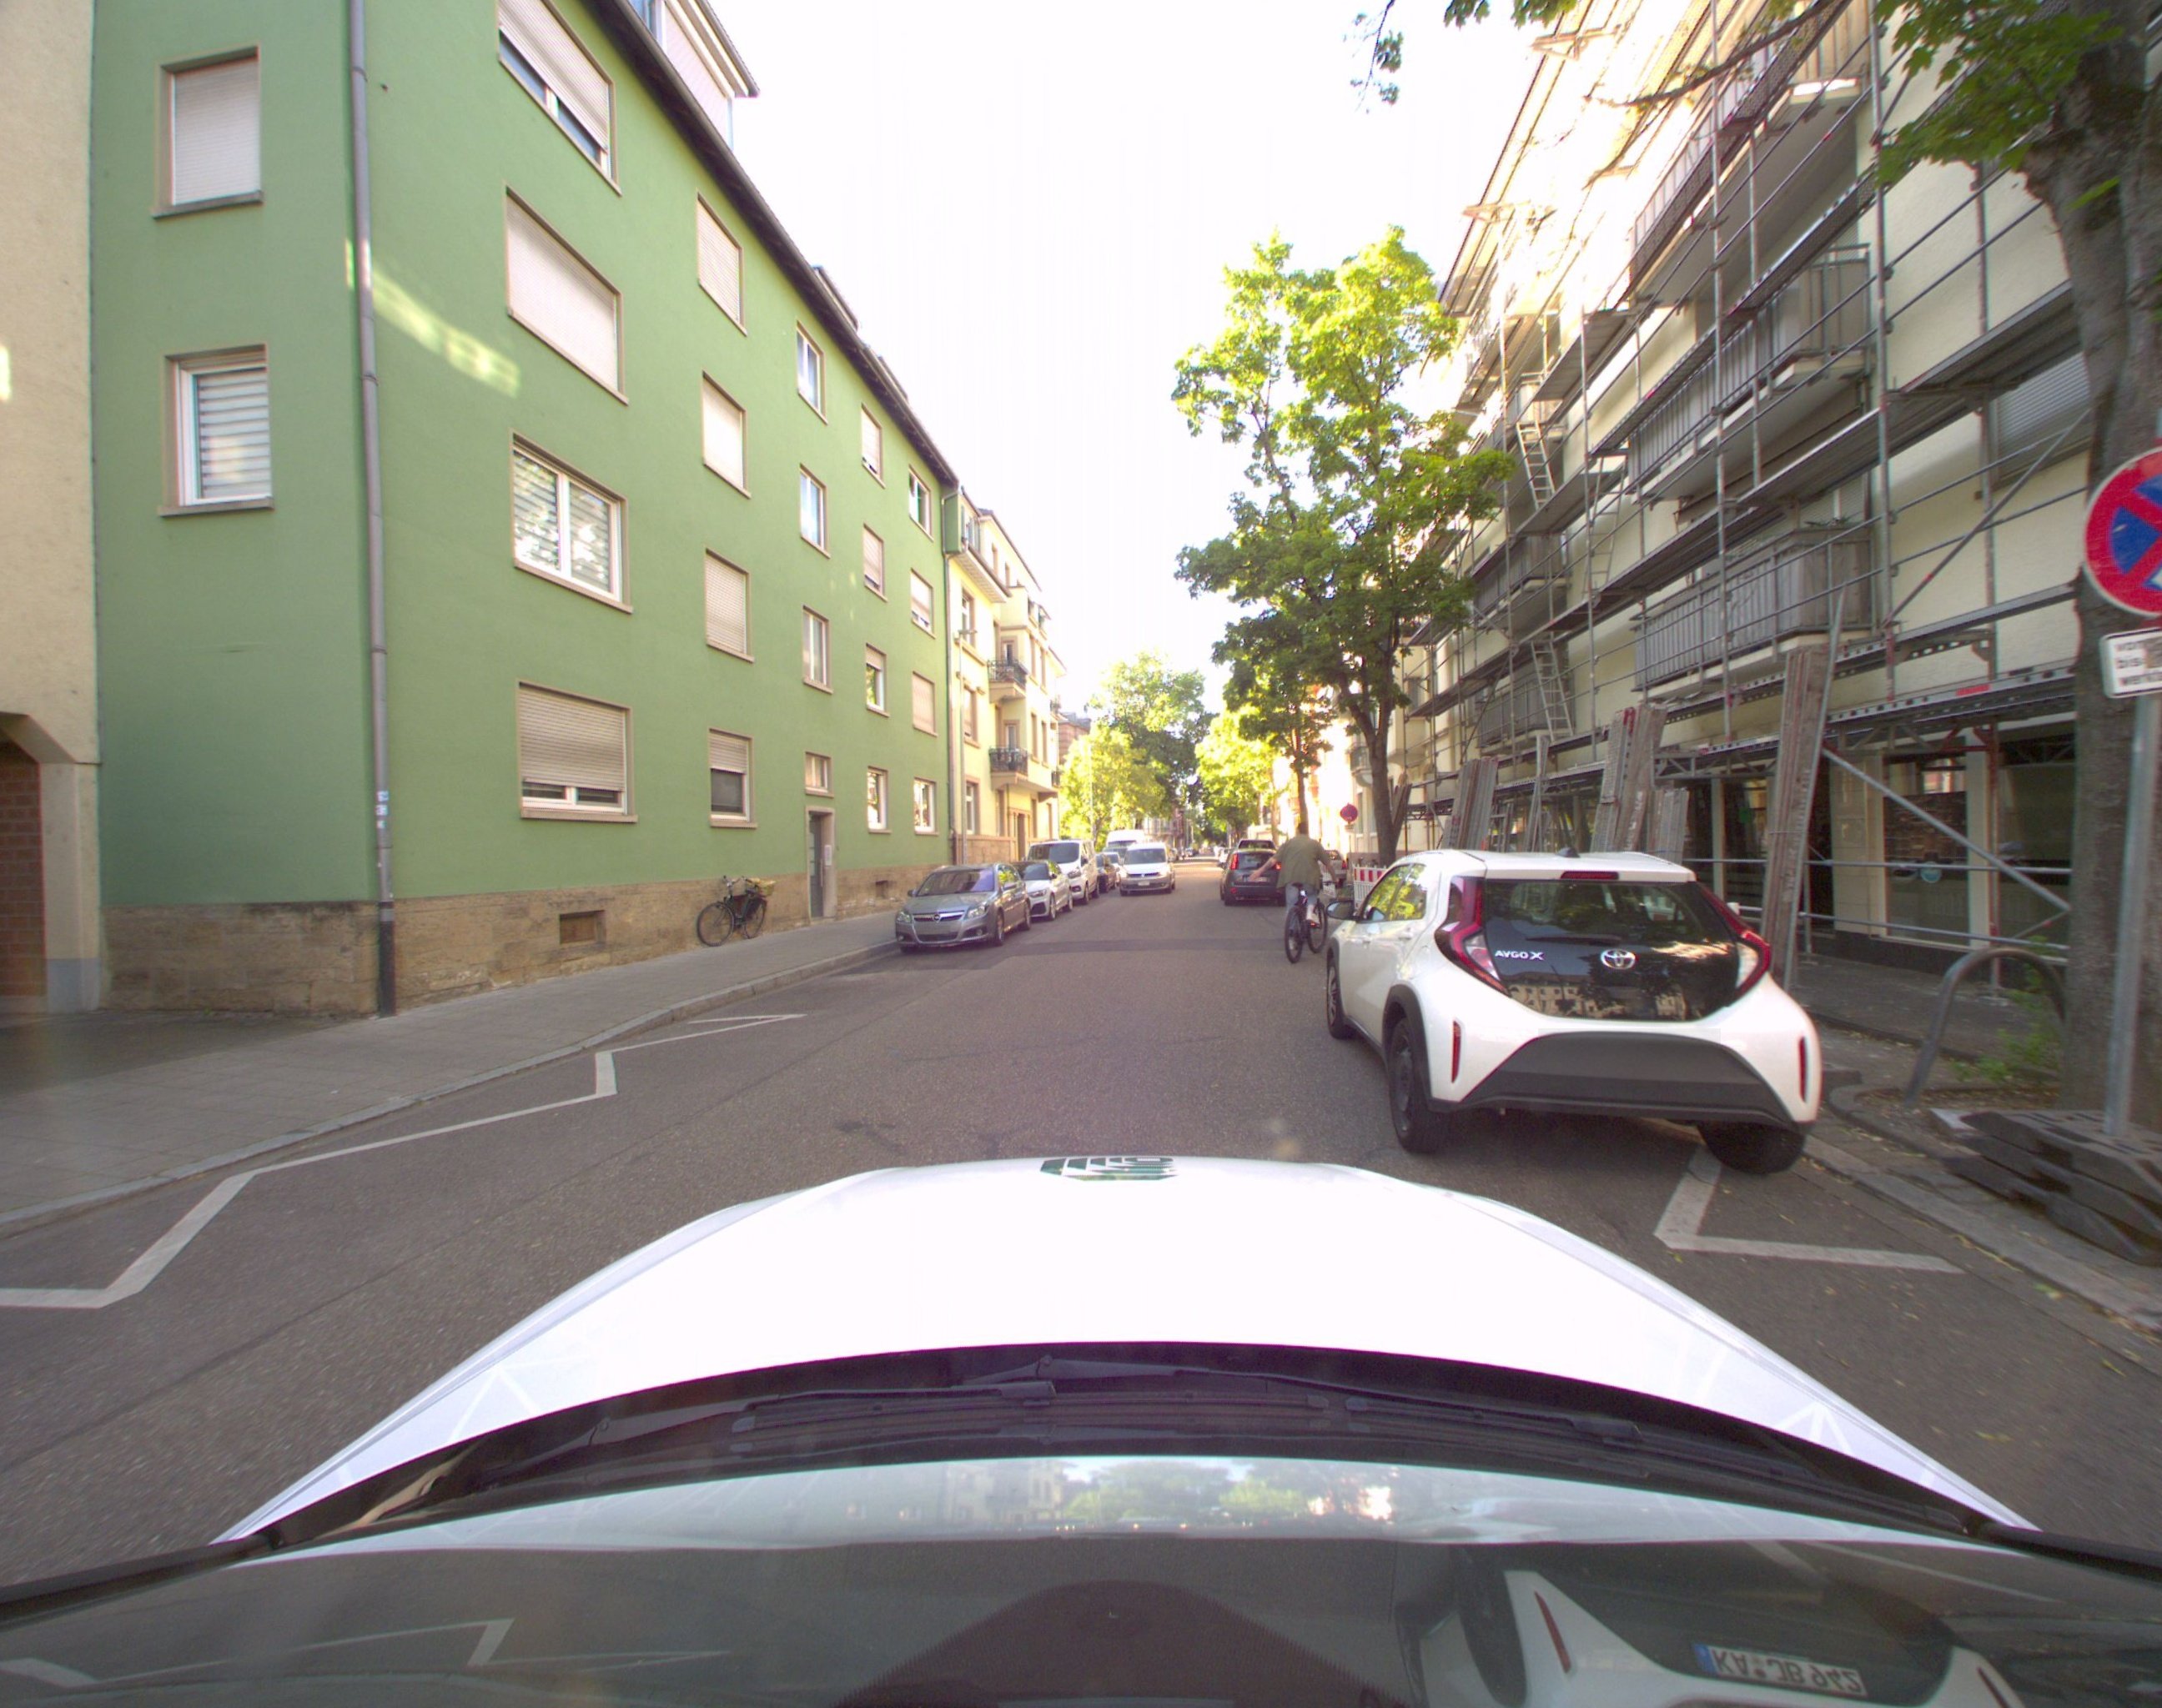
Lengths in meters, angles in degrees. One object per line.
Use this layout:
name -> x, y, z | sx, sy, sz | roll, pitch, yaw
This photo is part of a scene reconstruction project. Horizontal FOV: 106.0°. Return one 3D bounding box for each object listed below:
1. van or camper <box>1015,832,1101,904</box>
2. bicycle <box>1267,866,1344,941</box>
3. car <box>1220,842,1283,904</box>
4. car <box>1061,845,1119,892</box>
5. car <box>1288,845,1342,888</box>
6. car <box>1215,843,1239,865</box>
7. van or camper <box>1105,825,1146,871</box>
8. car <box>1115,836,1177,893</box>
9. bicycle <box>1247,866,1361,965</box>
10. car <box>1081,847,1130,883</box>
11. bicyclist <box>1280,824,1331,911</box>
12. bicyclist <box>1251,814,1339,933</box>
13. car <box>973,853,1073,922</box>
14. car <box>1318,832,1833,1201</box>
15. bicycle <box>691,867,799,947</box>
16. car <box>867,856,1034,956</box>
van or camper -> -0.600, 0.392, 25.850 | 1.983, 2.013, 4.920 | -2, 0, 6
bicycle -> 3.809, 0.796, 13.694 | 0.831, 1.149, 2.245 | -1, -2, 26
car -> 4.678, 0.458, 22.538 | 1.547, 1.533, 3.497 | 1, 1, 10
car -> 0.412, 0.511, 31.744 | 1.701, 1.684, 4.010 | -1, 0, 9
car -> 8.461, 0.413, 29.680 | 1.547, 1.409, 3.390 | 1, 1, 10
car -> 11.748, -0.009, 65.574 | 1.677, 1.604, 4.008 | -2, 0, 7
van or camper -> 2.702, -0.350, 48.425 | 1.982, 2.553, 5.034 | -1, 0, 8
car -> 2.418, 0.338, 29.301 | 1.771, 1.861, 4.210 | -2, 0, 10
bicycle -> 3.167, 0.787, 11.400 | 0.831, 1.149, 2.247 | 3, 2, 34
car -> 1.144, 0.462, 36.823 | 1.701, 1.504, 4.010 | -1, 1, 9
bicyclist -> 3.734, 0.246, 13.523 | 0.617, 1.381, 0.873 | -3, -5, 25
bicyclist -> 2.957, 0.284, 11.215 | 0.873, 1.562, 0.873 | -3, -4, 34
car -> -1.329, 0.759, 20.158 | 1.677, 1.453, 3.719 | -2, 0, 8
car -> 2.598, 0.664, 5.214 | 1.665, 1.545, 3.412 | 0, 0, 9
bicycle -> -5.698, 0.852, 13.985 | 0.547, 1.178, 2.285 | 2, 1, 10
car -> -2.223, 0.838, 15.100 | 1.969, 1.455, 4.120 | -4, 0, 5
